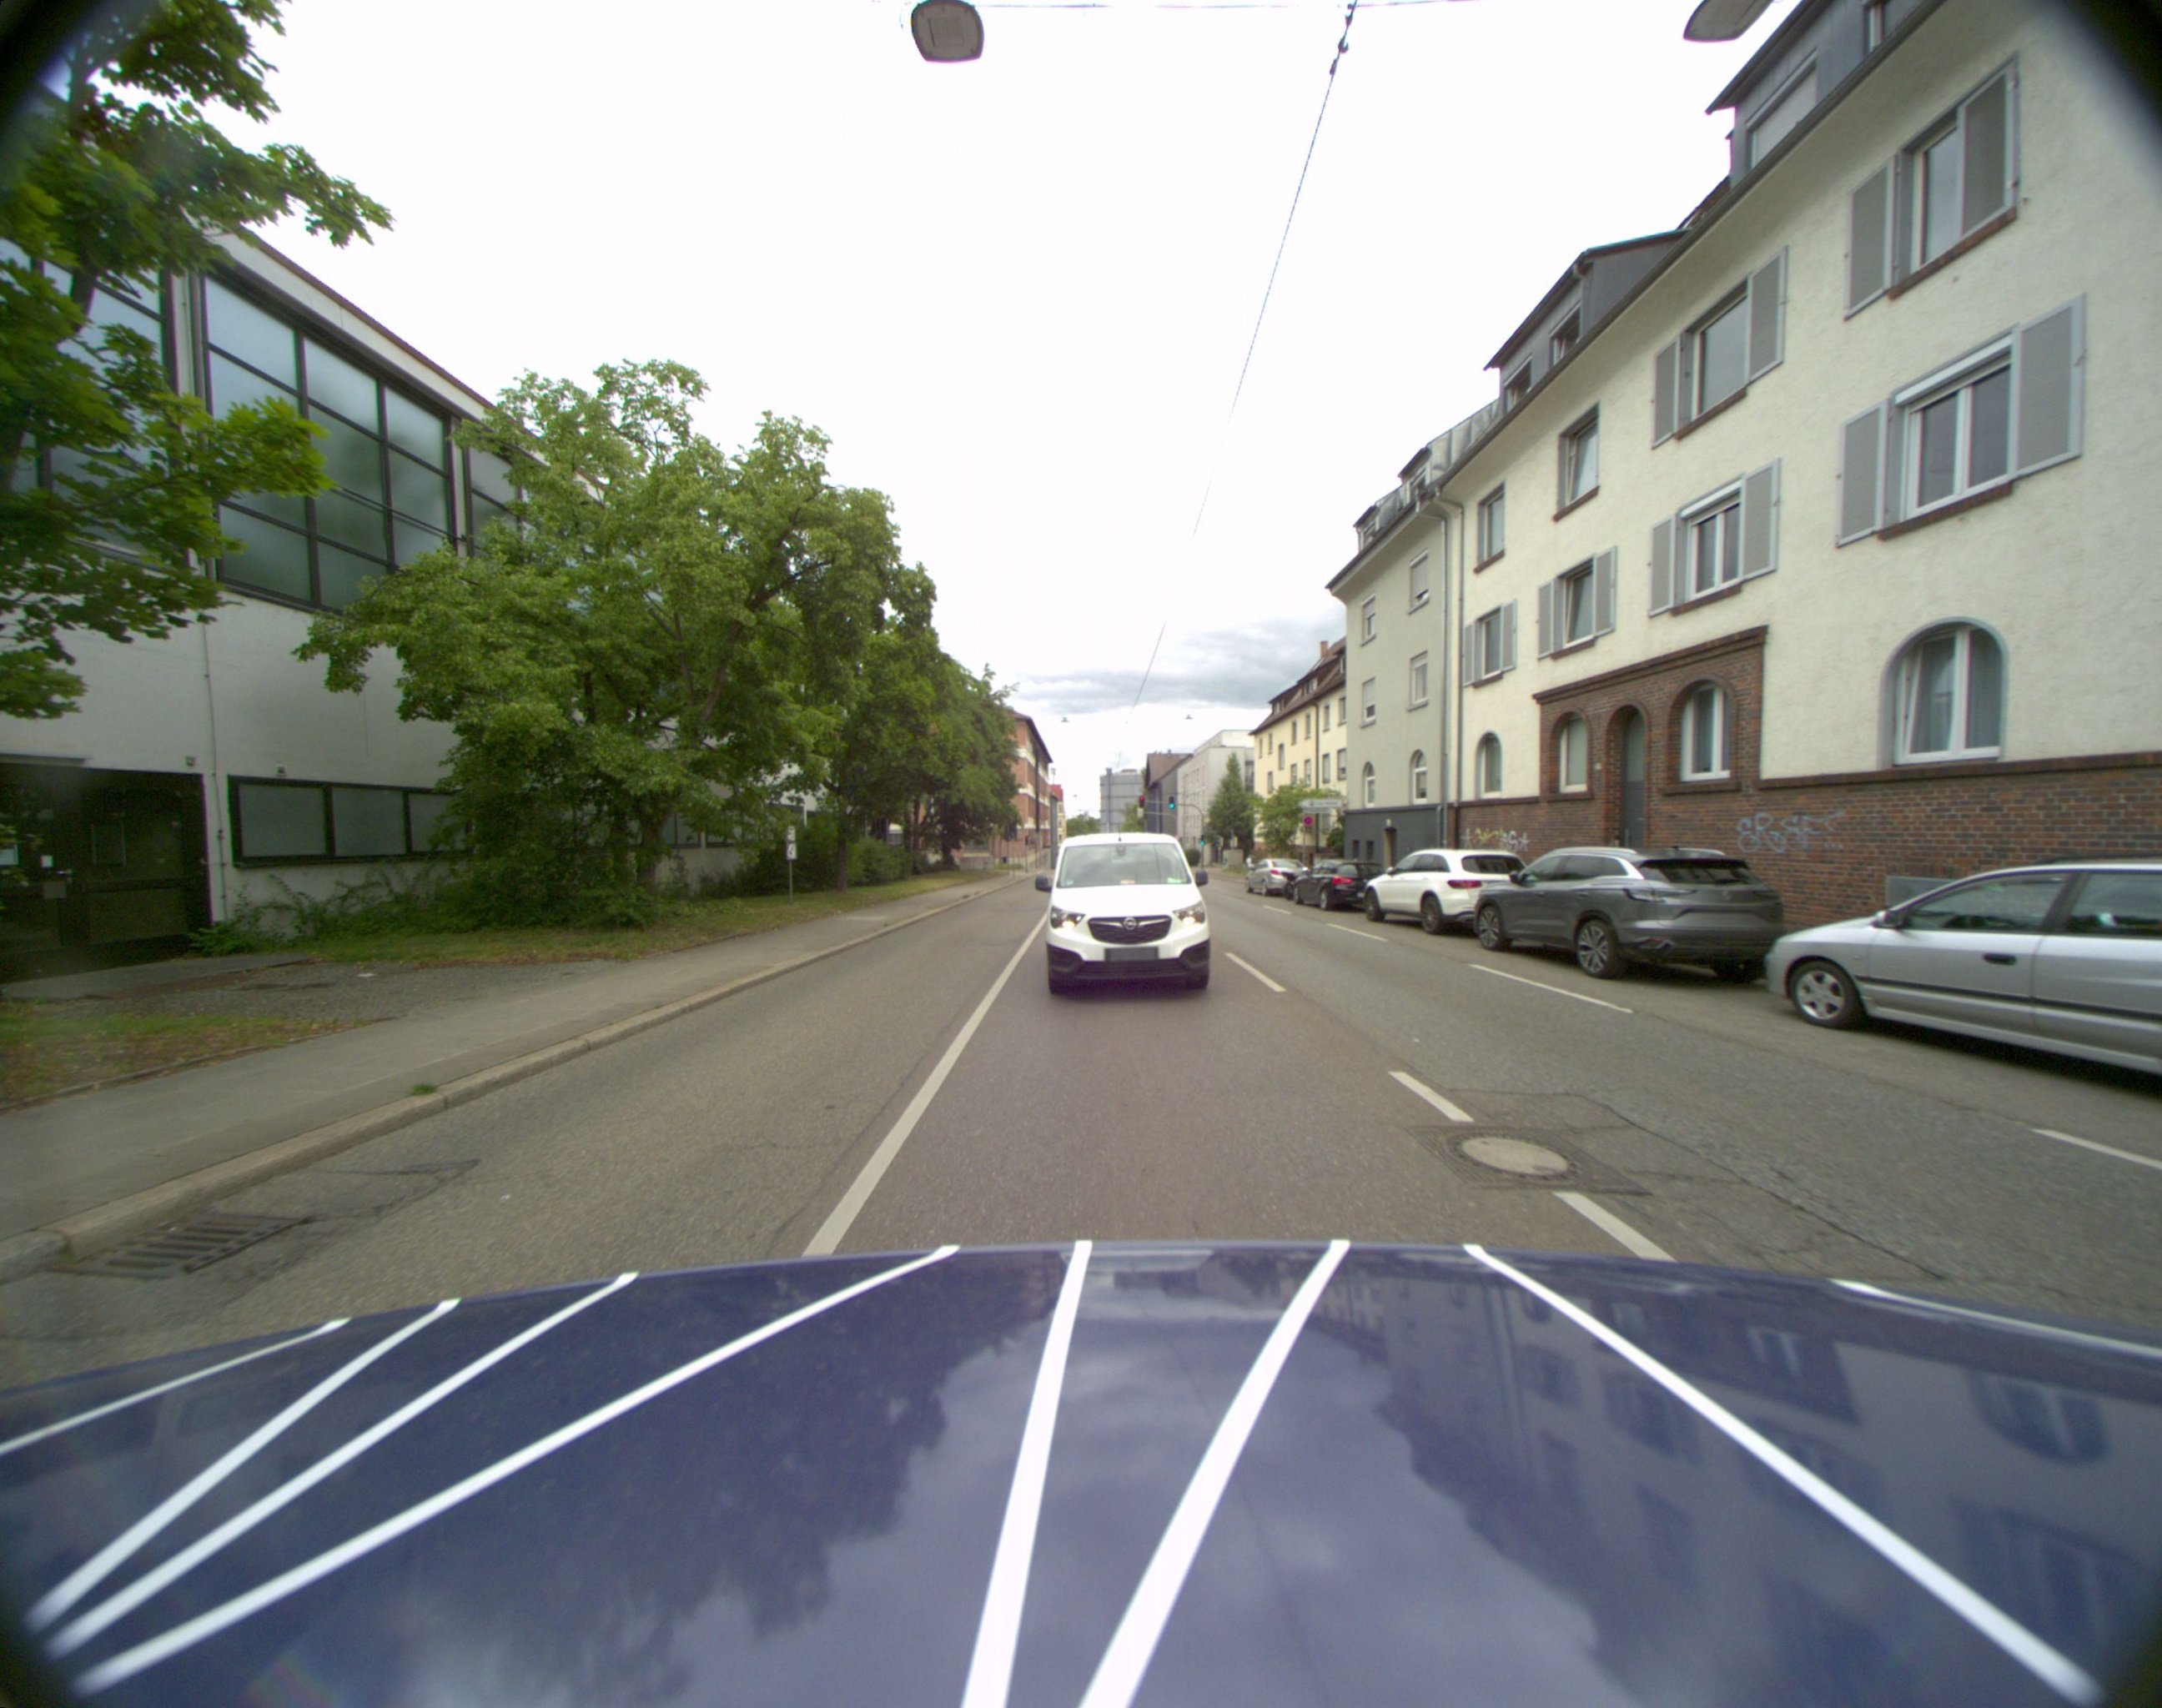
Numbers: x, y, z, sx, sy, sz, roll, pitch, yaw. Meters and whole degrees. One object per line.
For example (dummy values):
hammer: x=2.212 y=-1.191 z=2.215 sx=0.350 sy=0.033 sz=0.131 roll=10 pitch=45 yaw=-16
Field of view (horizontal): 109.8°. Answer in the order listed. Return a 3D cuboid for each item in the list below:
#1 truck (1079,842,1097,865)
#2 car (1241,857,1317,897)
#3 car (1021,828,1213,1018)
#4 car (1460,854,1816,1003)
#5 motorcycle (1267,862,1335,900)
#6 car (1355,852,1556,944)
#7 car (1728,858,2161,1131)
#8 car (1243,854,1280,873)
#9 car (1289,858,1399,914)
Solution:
truck: x=1.088 y=-0.079 z=115.306 sx=2.545 sy=3.478 sz=8.521 roll=0 pitch=0 yaw=1
car: x=7.481 y=0.824 z=29.061 sx=1.731 sy=1.366 sz=4.337 roll=0 pitch=0 yaw=-1
car: x=0.397 y=0.717 z=9.619 sx=1.850 sy=1.831 sz=4.284 roll=-1 pitch=-1 yaw=1
car: x=7.095 y=0.797 z=10.410 sx=1.731 sy=1.590 sz=4.502 roll=0 pitch=0 yaw=3
motorcycle: x=7.448 y=0.920 z=25.737 sx=2.048 sy=1.228 sz=0.806 roll=2 pitch=0 yaw=-17
car: x=7.423 y=0.764 z=15.683 sx=1.850 sy=1.612 sz=4.643 roll=0 pitch=0 yaw=0
car: x=7.215 y=0.863 z=5.384 sx=1.731 sy=1.549 sz=4.081 roll=2 pitch=1 yaw=0
car: x=15.433 y=0.858 z=65.175 sx=1.819 sy=1.527 sz=4.259 roll=1 pitch=-1 yaw=-4
car: x=7.363 y=0.840 z=21.715 sx=1.731 sy=1.421 sz=4.191 roll=0 pitch=0 yaw=0
